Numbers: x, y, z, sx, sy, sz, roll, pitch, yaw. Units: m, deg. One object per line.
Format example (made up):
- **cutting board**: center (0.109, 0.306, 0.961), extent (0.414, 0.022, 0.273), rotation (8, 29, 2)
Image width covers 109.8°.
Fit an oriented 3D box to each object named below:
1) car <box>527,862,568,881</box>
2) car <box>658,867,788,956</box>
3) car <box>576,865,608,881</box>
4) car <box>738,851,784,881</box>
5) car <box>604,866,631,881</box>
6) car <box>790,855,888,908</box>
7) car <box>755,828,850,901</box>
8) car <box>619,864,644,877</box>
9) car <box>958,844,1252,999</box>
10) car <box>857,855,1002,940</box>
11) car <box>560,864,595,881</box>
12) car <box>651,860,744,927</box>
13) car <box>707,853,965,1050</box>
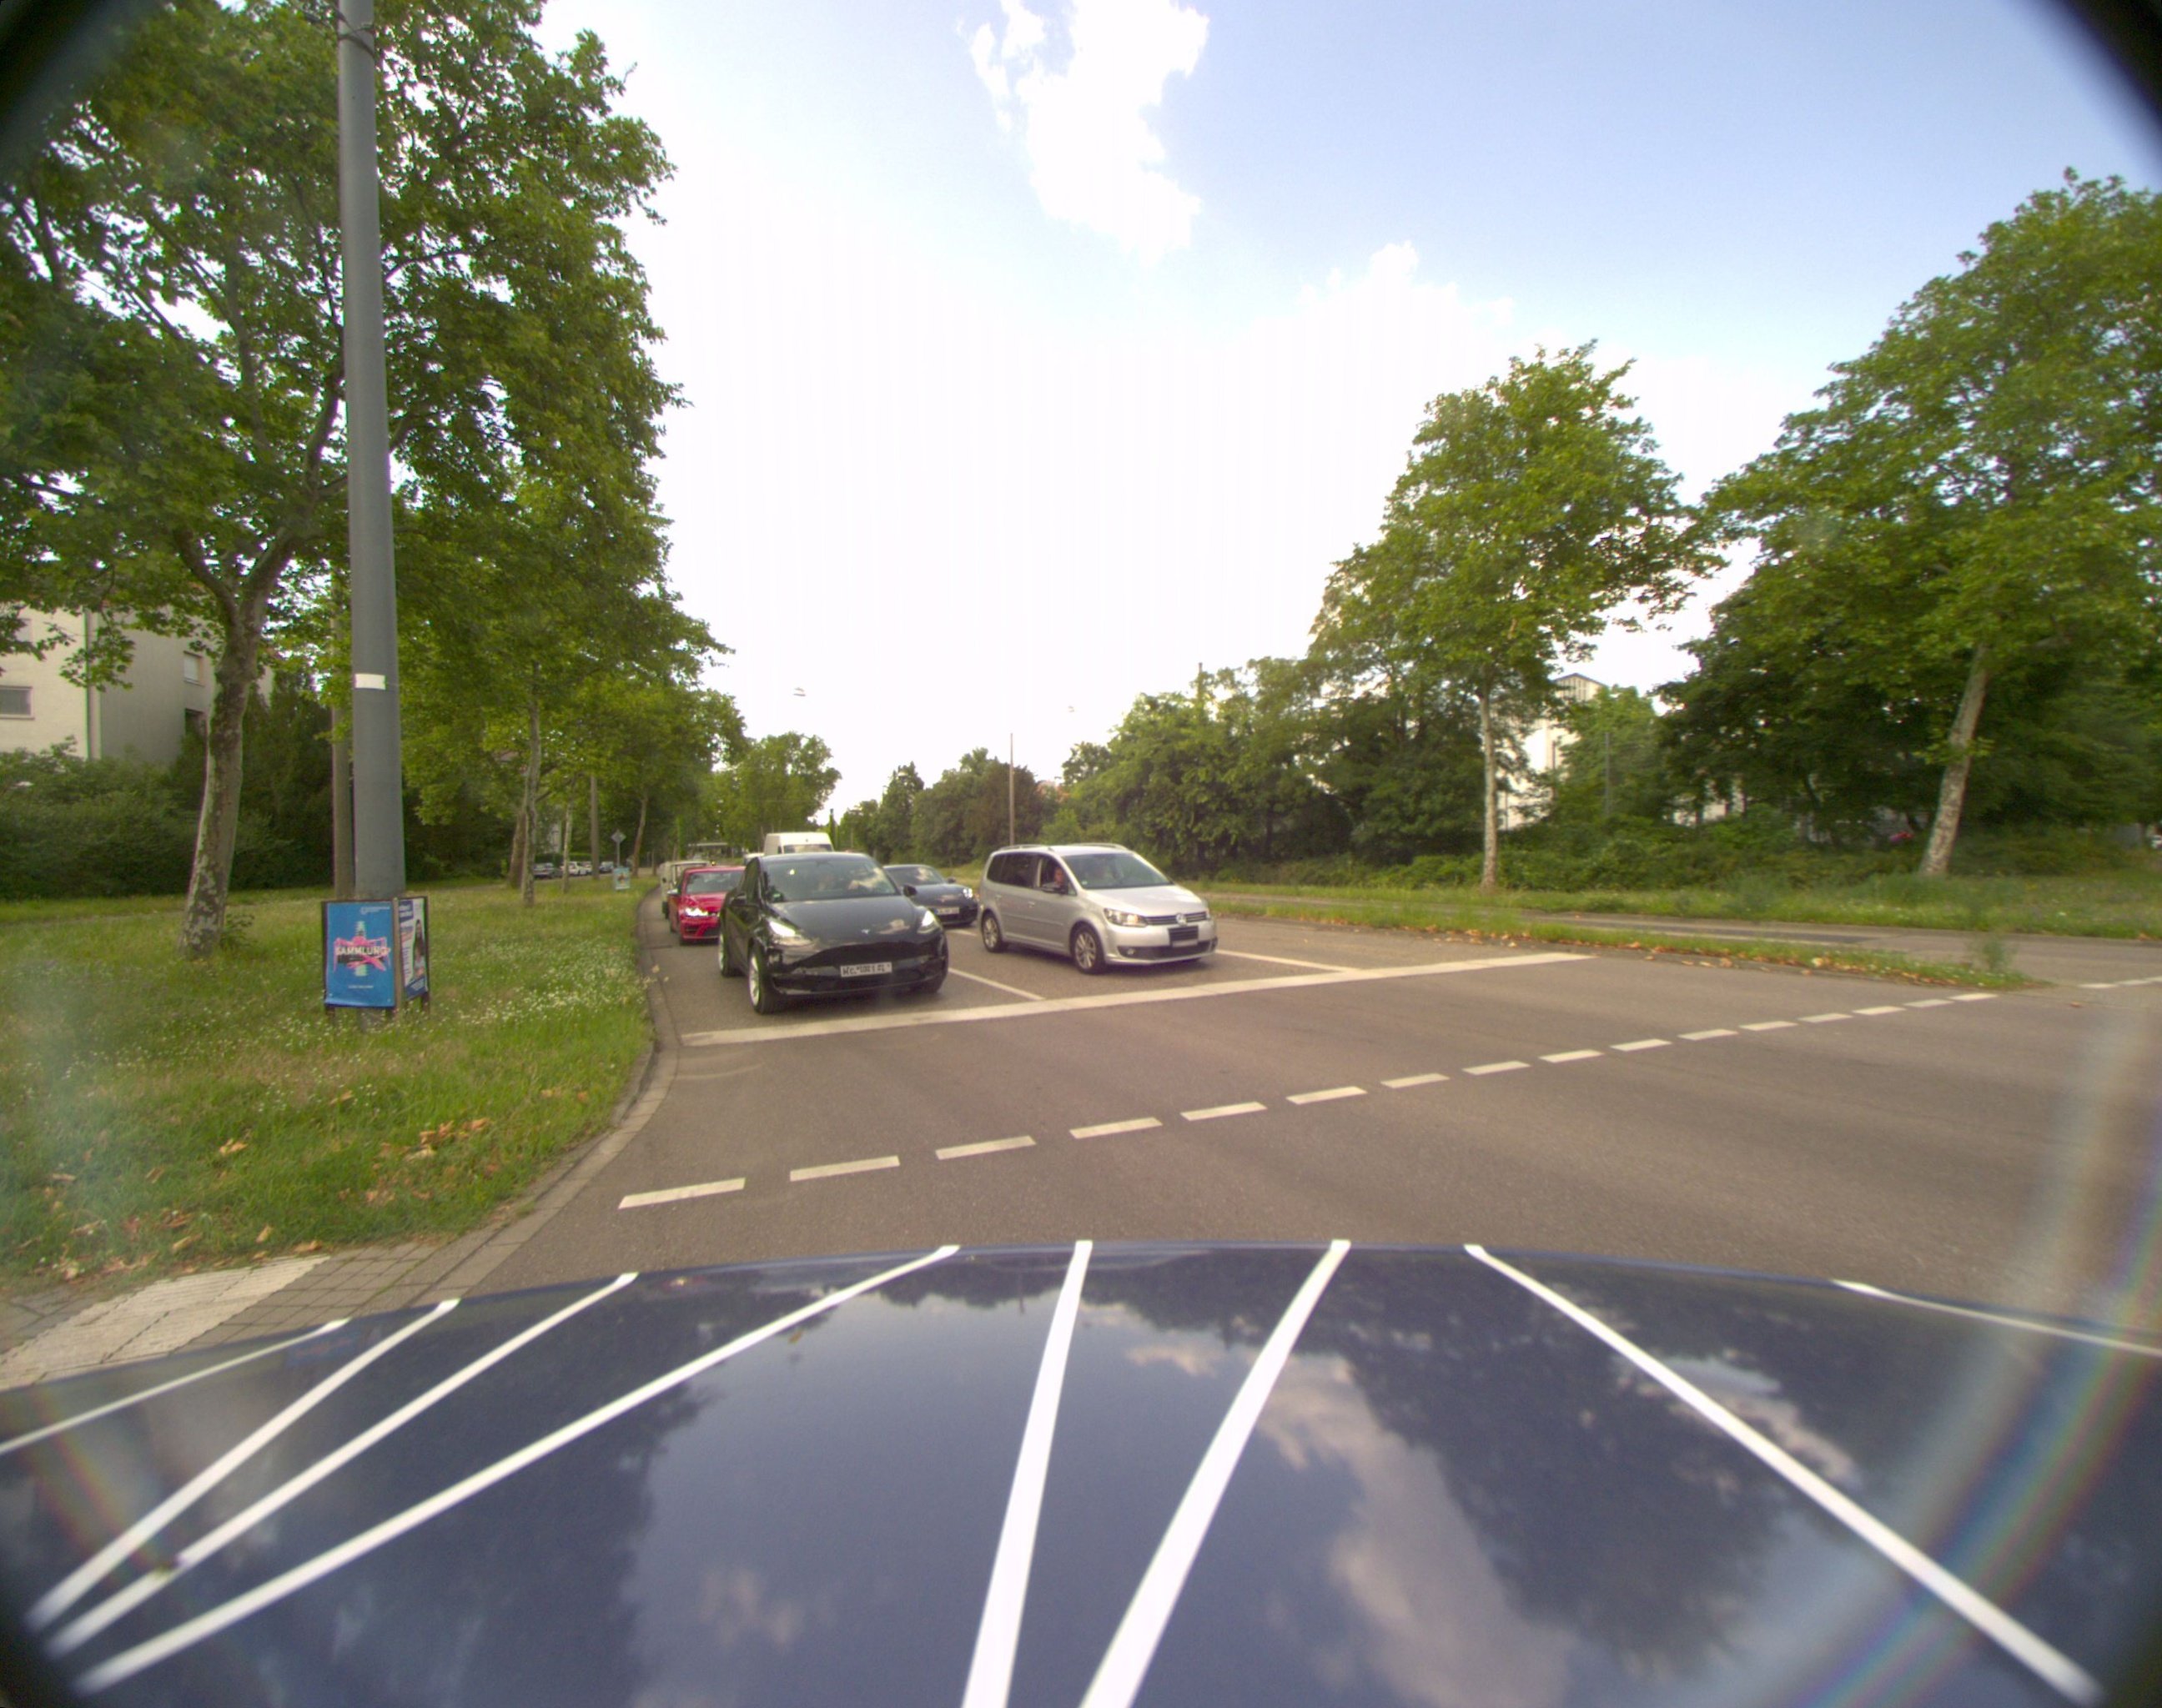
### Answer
- **car**: center (-46.418, 1.531, 66.199), extent (1.778, 1.586, 3.652), rotation (-1, -1, -16)
- **car**: center (-7.441, 1.035, 15.554), extent (1.805, 1.383, 4.490), rotation (-3, 2, -32)
- **car**: center (-50.720, 1.952, 78.910), extent (1.778, 1.586, 3.652), rotation (-1, -1, -16)
- **car**: center (-18.630, 0.666, 44.126), extent (1.768, 1.637, 4.332), rotation (-1, 1, -32)
- **car**: center (-54.451, 2.302, 89.265), extent (1.778, 1.586, 3.652), rotation (-1, -1, -16)
- **car**: center (-7.483, 0.758, 23.233), extent (1.767, 1.367, 4.332), rotation (-3, 2, -32)
- **car**: center (-11.142, 0.355, 30.110), extent (2.231, 2.516, 5.918), rotation (-3, 2, -32)
- **car**: center (-57.166, 2.148, 96.672), extent (1.778, 1.586, 3.652), rotation (-1, -1, -16)
- **car**: center (0.078, 0.740, 10.798), extent (1.934, 1.643, 4.490), rotation (-3, 2, -32)
- **car**: center (-3.411, 0.827, 16.487), extent (1.807, 1.499, 3.990), rotation (-4, 2, -31)
- **car**: center (-49.490, 1.819, 74.725), extent (1.778, 1.586, 3.652), rotation (-1, -1, -16)
- **car**: center (-10.732, 0.992, 21.106), extent (1.805, 1.561, 4.490), rotation (-3, 2, -32)
- **car**: center (-3.187, 0.858, 9.122), extent (1.934, 1.643, 4.568), rotation (-3, 2, -30)
